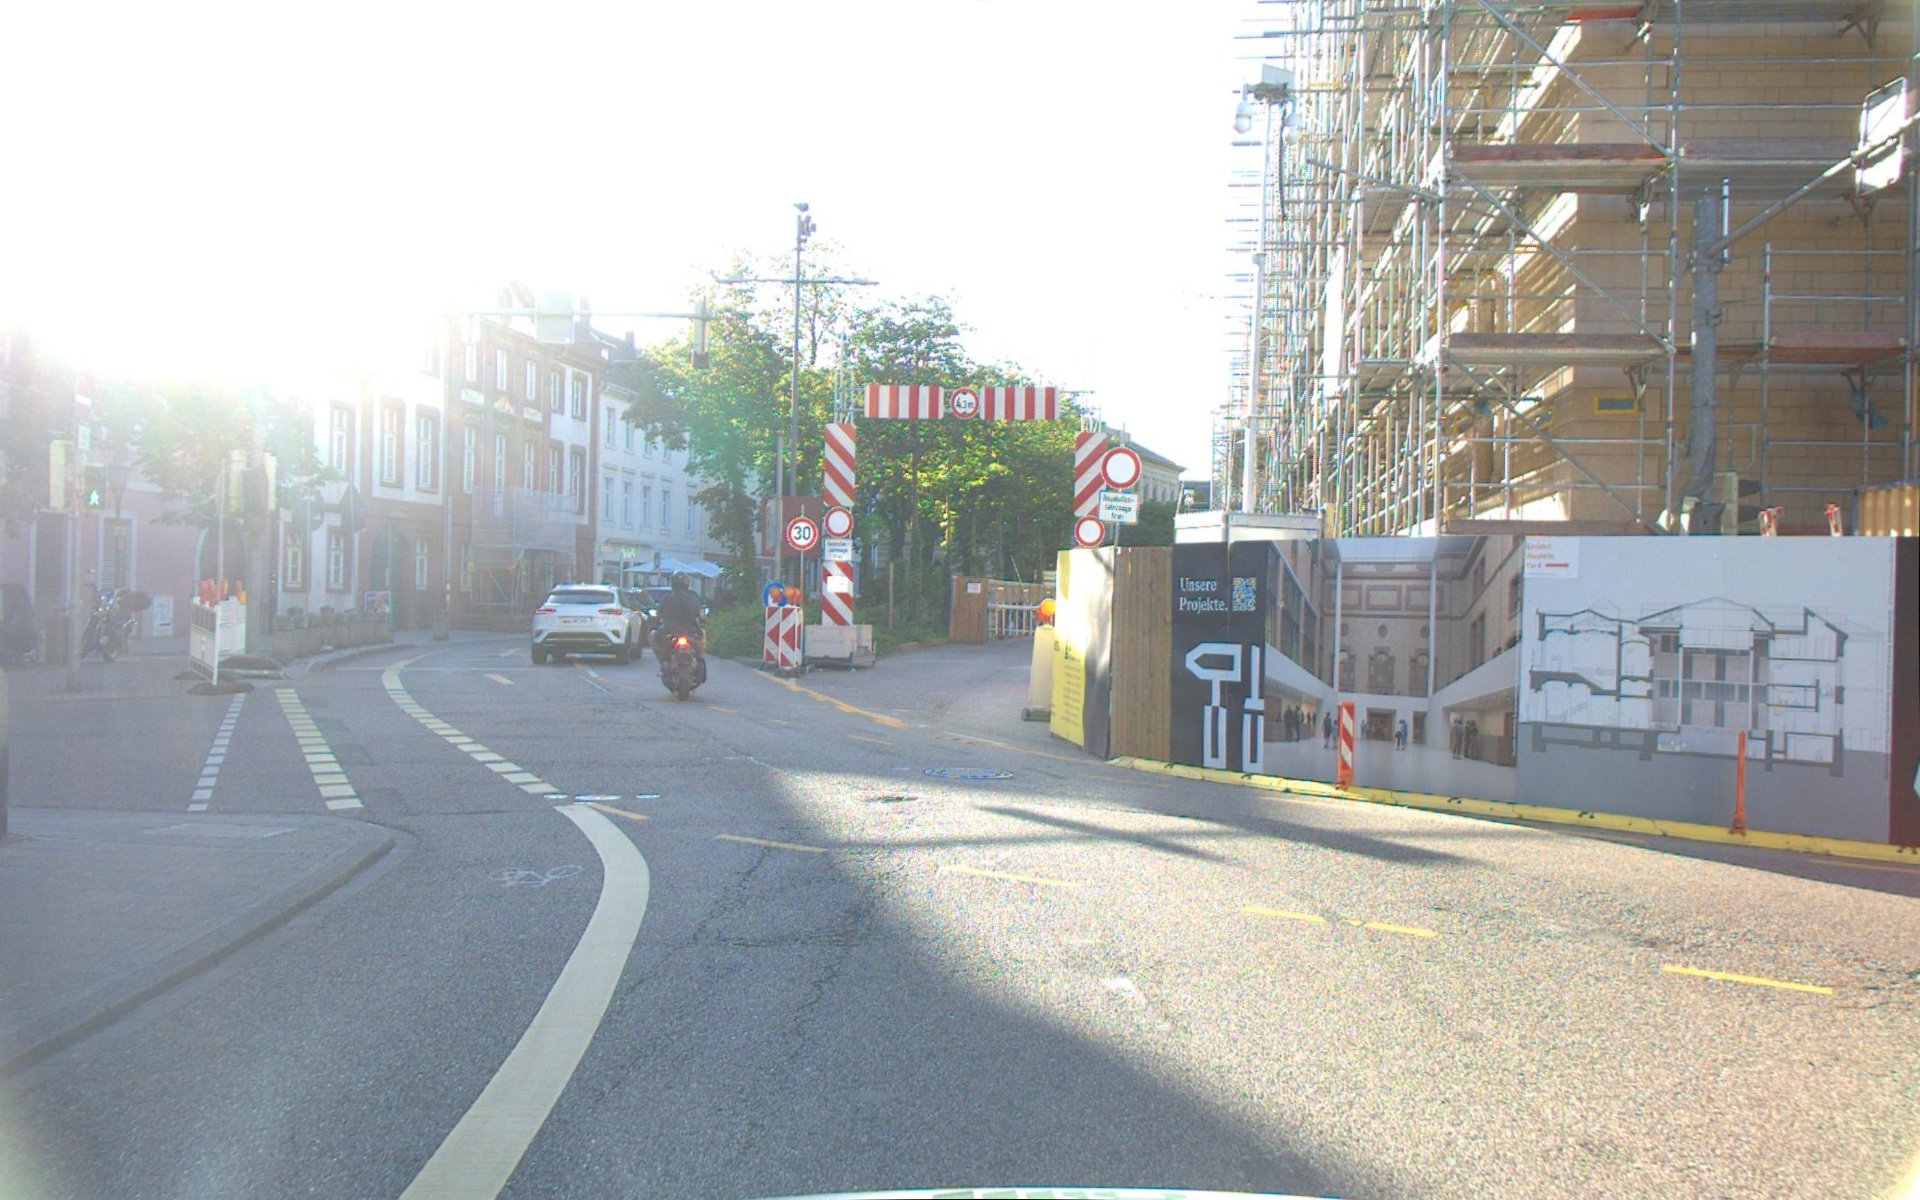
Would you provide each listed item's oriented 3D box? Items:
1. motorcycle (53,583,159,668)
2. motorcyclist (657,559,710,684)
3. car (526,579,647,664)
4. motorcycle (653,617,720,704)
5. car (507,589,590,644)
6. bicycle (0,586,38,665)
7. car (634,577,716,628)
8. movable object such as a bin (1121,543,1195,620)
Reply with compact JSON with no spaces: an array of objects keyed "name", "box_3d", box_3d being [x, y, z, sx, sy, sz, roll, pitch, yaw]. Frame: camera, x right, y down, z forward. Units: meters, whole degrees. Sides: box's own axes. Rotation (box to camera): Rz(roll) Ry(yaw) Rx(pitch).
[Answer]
[{"name":"motorcycle","box_3d":[-14.127,0.396,27.435,0.796,1.340,2.333,0,0,-7]},{"name":"motorcyclist","box_3d":[-3.802,0.289,22.715,0.645,1.679,0.649,2,0,-12]},{"name":"car","box_3d":[-7.211,0.376,32.255,1.815,1.506,4.052,2,0,-7]},{"name":"motorcycle","box_3d":[-3.756,0.805,22.606,0.783,1.085,1.720,2,0,-12]},{"name":"car","box_3d":[-11.845,0.445,47.789,1.805,1.489,4.051,2,0,-7]},{"name":"bicycle","box_3d":[-15.540,0.411,25.756,1.987,1.227,0.673,-1,-1,-41]},{"name":"car","box_3d":[-10.390,0.100,60.553,1.801,1.743,4.060,2,0,7]},{"name":"movable object such as a bin","box_3d":[12.401,-1.098,103.107,3.237,4.619,7.909,0,0,17]}]
